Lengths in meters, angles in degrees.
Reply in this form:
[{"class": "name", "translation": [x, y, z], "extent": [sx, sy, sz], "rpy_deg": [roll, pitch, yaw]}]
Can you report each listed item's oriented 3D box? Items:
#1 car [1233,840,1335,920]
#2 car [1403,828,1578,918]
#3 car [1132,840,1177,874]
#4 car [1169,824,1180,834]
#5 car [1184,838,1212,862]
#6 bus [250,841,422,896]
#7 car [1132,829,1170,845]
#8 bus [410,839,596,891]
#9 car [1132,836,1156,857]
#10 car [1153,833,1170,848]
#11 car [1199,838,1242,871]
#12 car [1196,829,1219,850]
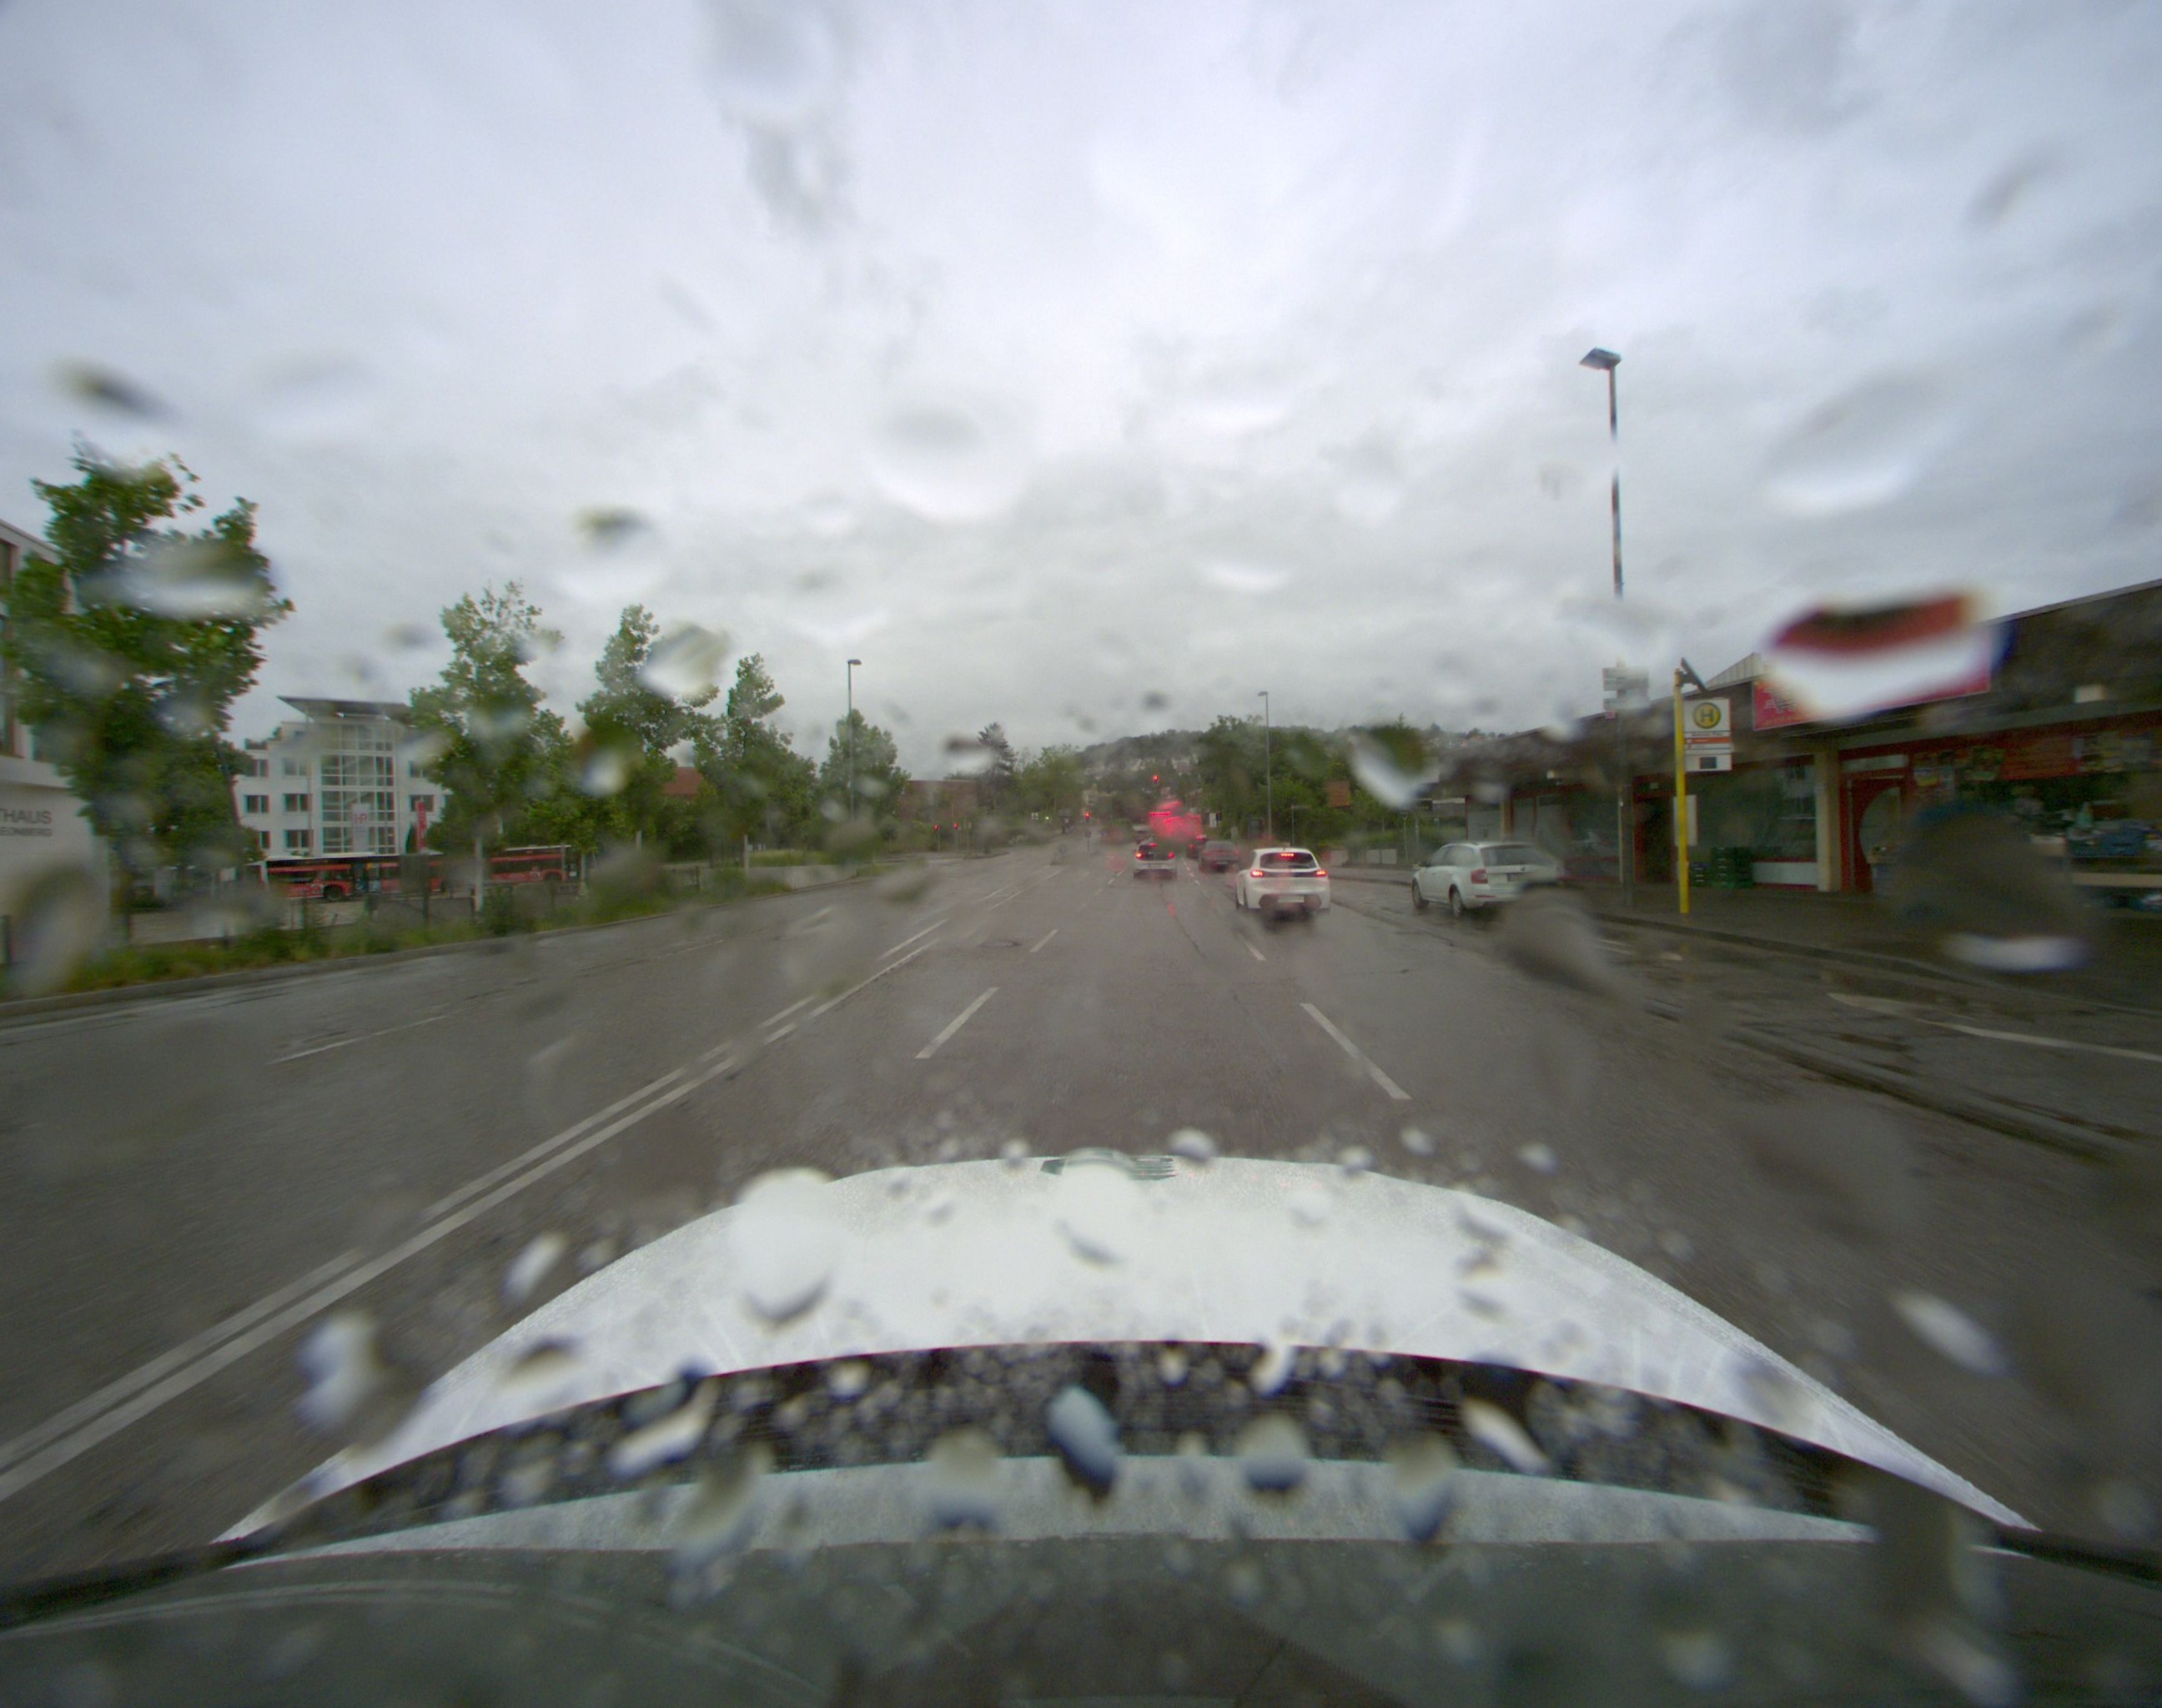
[{"class": "car", "translation": [4.322, 0.488, 17.869], "extent": [1.682, 1.519, 3.941], "rpy_deg": [-1, 1, 7]}, {"class": "car", "translation": [8.004, 0.299, 16.411], "extent": [1.721, 1.497, 4.490], "rpy_deg": [-3, 1, 7]}, {"class": "car", "translation": [3.114, 0.141, 34.014], "extent": [1.732, 1.296, 3.340], "rpy_deg": [-2, -1, 6]}, {"class": "car", "translation": [12.817, -3.443, 111.722], "extent": [1.361, 1.157, 2.428], "rpy_deg": [-2, -1, 3]}, {"class": "car", "translation": [8.155, -0.263, 57.036], "extent": [1.640, 1.485, 3.369], "rpy_deg": [-3, -2, 4]}, {"class": "bus", "translation": [-48.687, 0.949, 53.587], "extent": [7.861, 3.281, 2.717], "rpy_deg": [-2, -2, -29]}, {"class": "car", "translation": [7.428, -1.825, 86.576], "extent": [3.536, 1.569, 1.783], "rpy_deg": [-2, -2, -29]}, {"class": "bus", "translation": [-40.589, 0.722, 57.815], "extent": [10.438, 3.281, 2.835], "rpy_deg": [-2, -2, -29]}, {"class": "car", "translation": [3.744, -0.445, 48.861], "extent": [1.209, 1.156, 2.269], "rpy_deg": [-2, -2, -1]}, {"class": "car", "translation": [6.935, -1.167, 70.538], "extent": [1.378, 1.126, 2.614], "rpy_deg": [-3, -2, 5]}, {"class": "car", "translation": [6.703, -0.011, 39.398], "extent": [1.726, 1.387, 3.356], "rpy_deg": [0, 3, 4]}, {"class": "car", "translation": [10.218, -1.150, 65.776], "extent": [1.557, 1.397, 3.963], "rpy_deg": [-3, -2, 6]}]
